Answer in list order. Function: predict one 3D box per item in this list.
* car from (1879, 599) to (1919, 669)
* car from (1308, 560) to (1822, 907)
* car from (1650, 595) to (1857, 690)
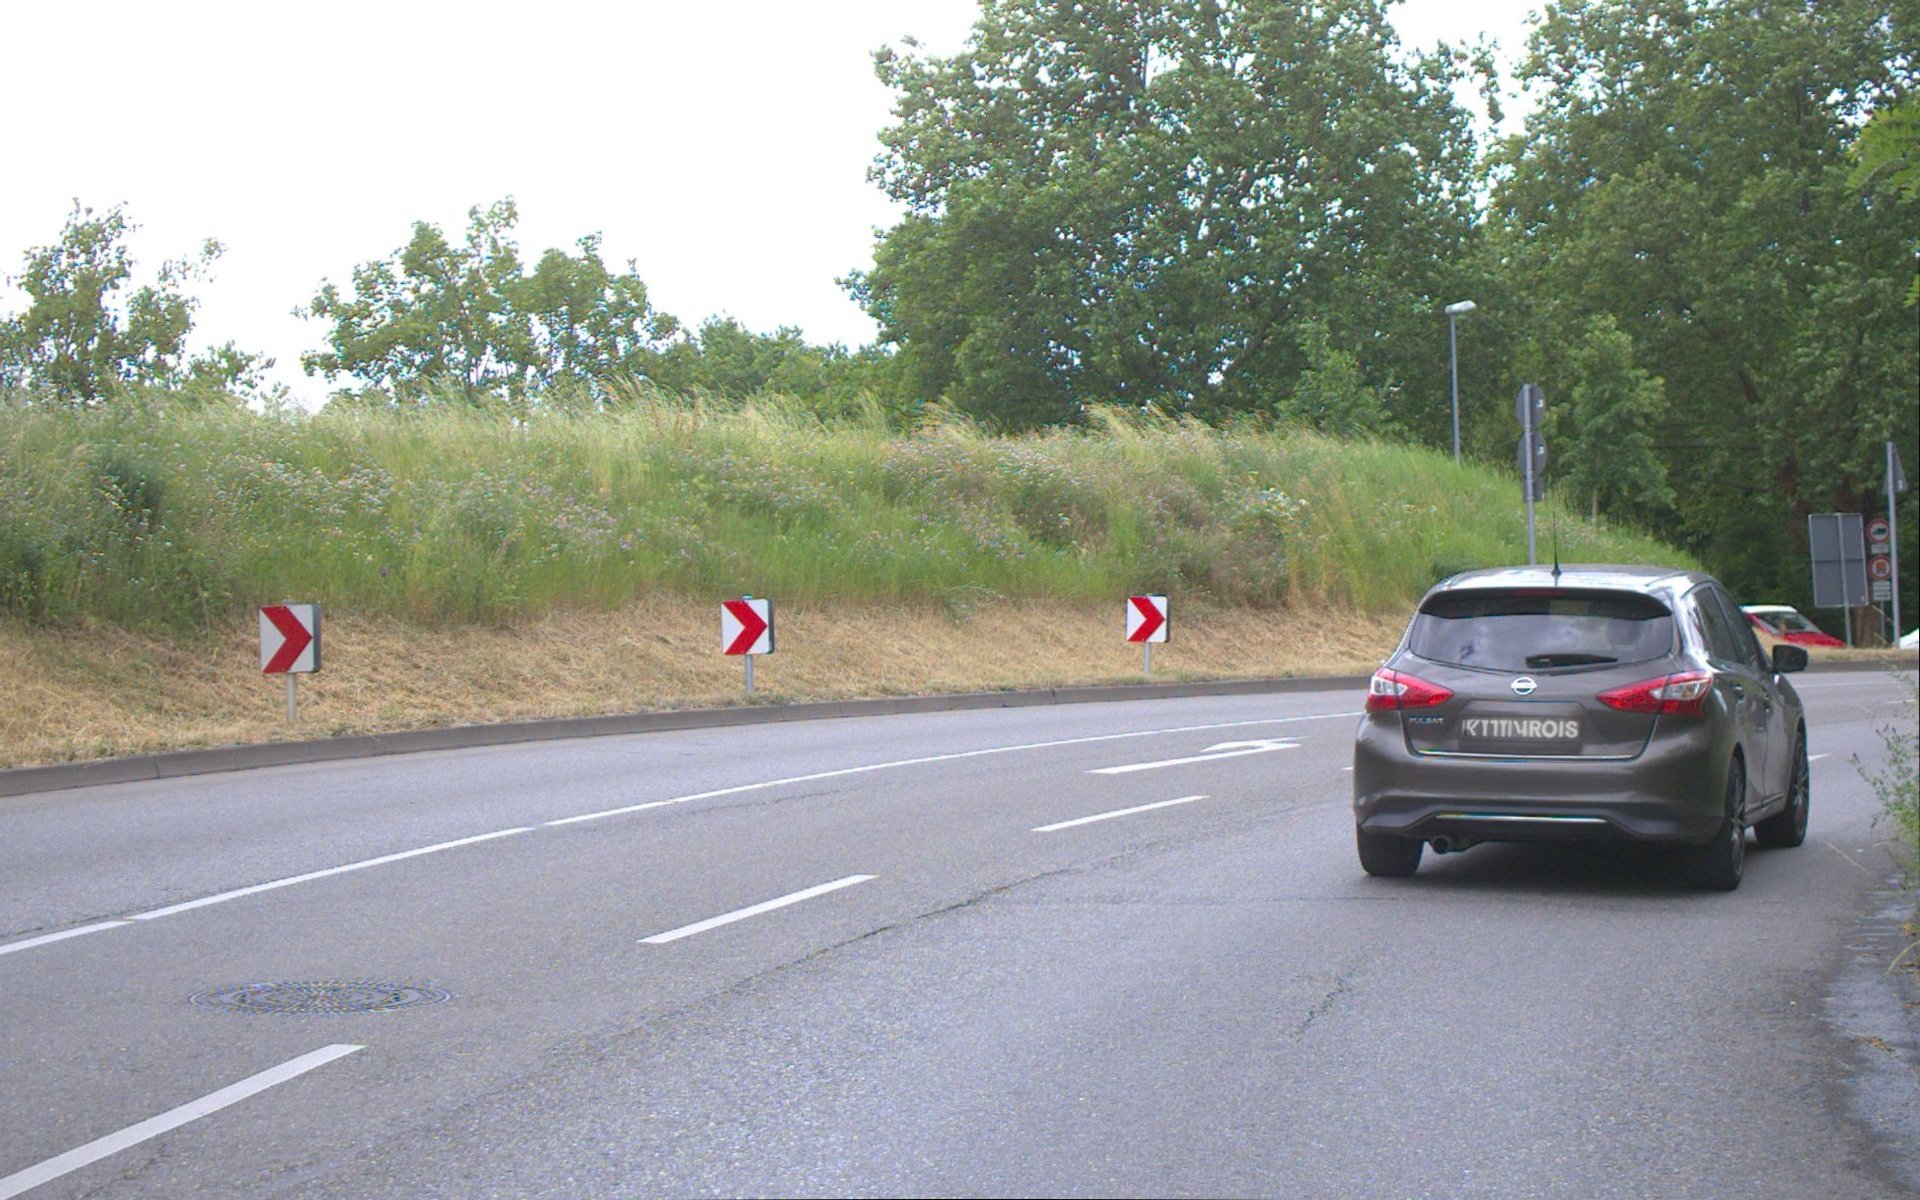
[{"bbox_3d":[20.431,0.608,67.359,1.994,1.334,4.418,2,-4,-34],"label":"car"},{"bbox_3d":[3.164,0.563,17.326,1.846,1.488,3.996,1,1,20],"label":"car"},{"bbox_3d":[16.800,0.923,72.943,1.849,1.807,4.038,0,-3,-34],"label":"car"}]
